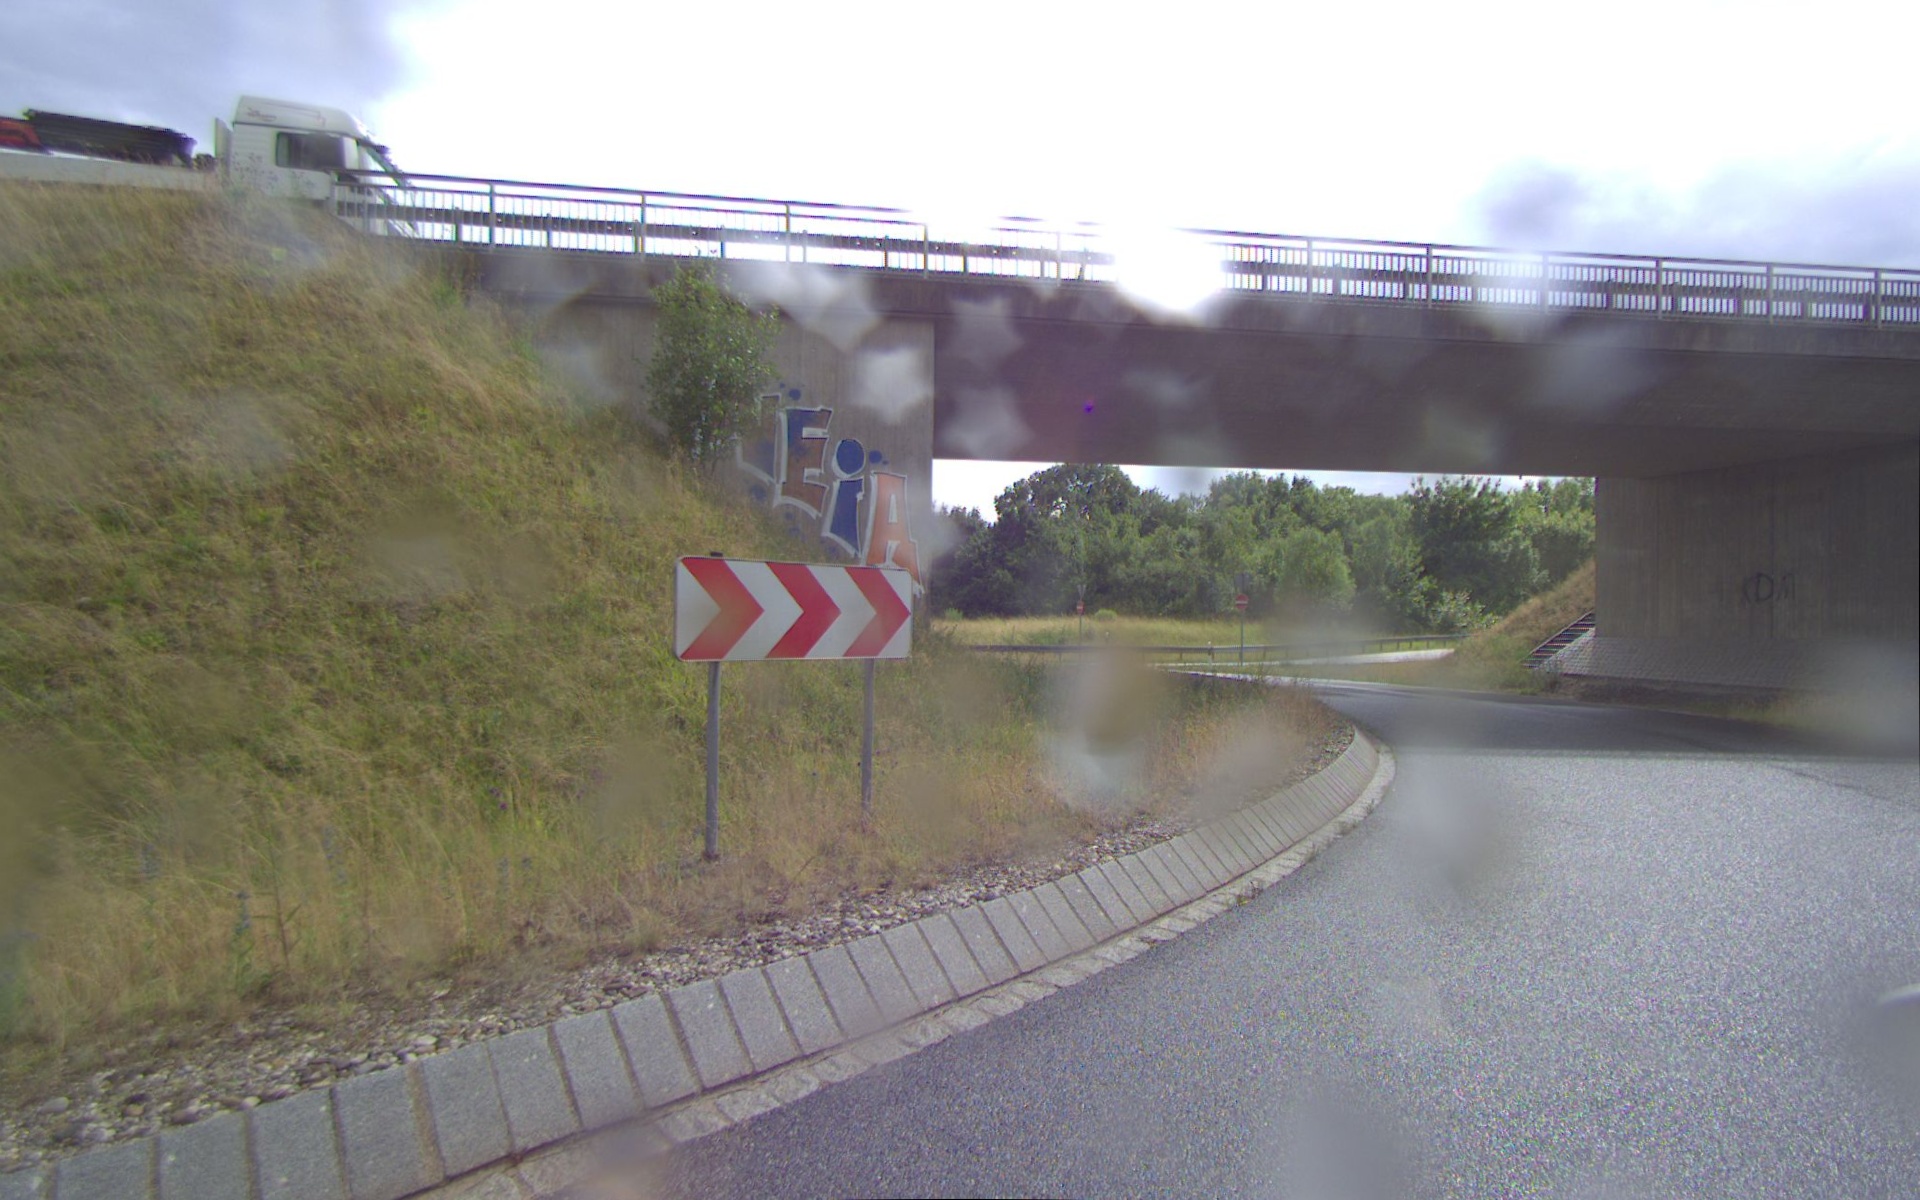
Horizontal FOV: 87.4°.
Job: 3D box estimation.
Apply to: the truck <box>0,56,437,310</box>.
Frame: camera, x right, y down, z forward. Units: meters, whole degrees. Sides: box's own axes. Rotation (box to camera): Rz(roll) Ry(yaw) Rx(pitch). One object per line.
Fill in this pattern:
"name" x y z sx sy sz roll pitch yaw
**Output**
"truck" -14.948 -7.071 16.904 10.633 2.912 2.202 1 0 -11
